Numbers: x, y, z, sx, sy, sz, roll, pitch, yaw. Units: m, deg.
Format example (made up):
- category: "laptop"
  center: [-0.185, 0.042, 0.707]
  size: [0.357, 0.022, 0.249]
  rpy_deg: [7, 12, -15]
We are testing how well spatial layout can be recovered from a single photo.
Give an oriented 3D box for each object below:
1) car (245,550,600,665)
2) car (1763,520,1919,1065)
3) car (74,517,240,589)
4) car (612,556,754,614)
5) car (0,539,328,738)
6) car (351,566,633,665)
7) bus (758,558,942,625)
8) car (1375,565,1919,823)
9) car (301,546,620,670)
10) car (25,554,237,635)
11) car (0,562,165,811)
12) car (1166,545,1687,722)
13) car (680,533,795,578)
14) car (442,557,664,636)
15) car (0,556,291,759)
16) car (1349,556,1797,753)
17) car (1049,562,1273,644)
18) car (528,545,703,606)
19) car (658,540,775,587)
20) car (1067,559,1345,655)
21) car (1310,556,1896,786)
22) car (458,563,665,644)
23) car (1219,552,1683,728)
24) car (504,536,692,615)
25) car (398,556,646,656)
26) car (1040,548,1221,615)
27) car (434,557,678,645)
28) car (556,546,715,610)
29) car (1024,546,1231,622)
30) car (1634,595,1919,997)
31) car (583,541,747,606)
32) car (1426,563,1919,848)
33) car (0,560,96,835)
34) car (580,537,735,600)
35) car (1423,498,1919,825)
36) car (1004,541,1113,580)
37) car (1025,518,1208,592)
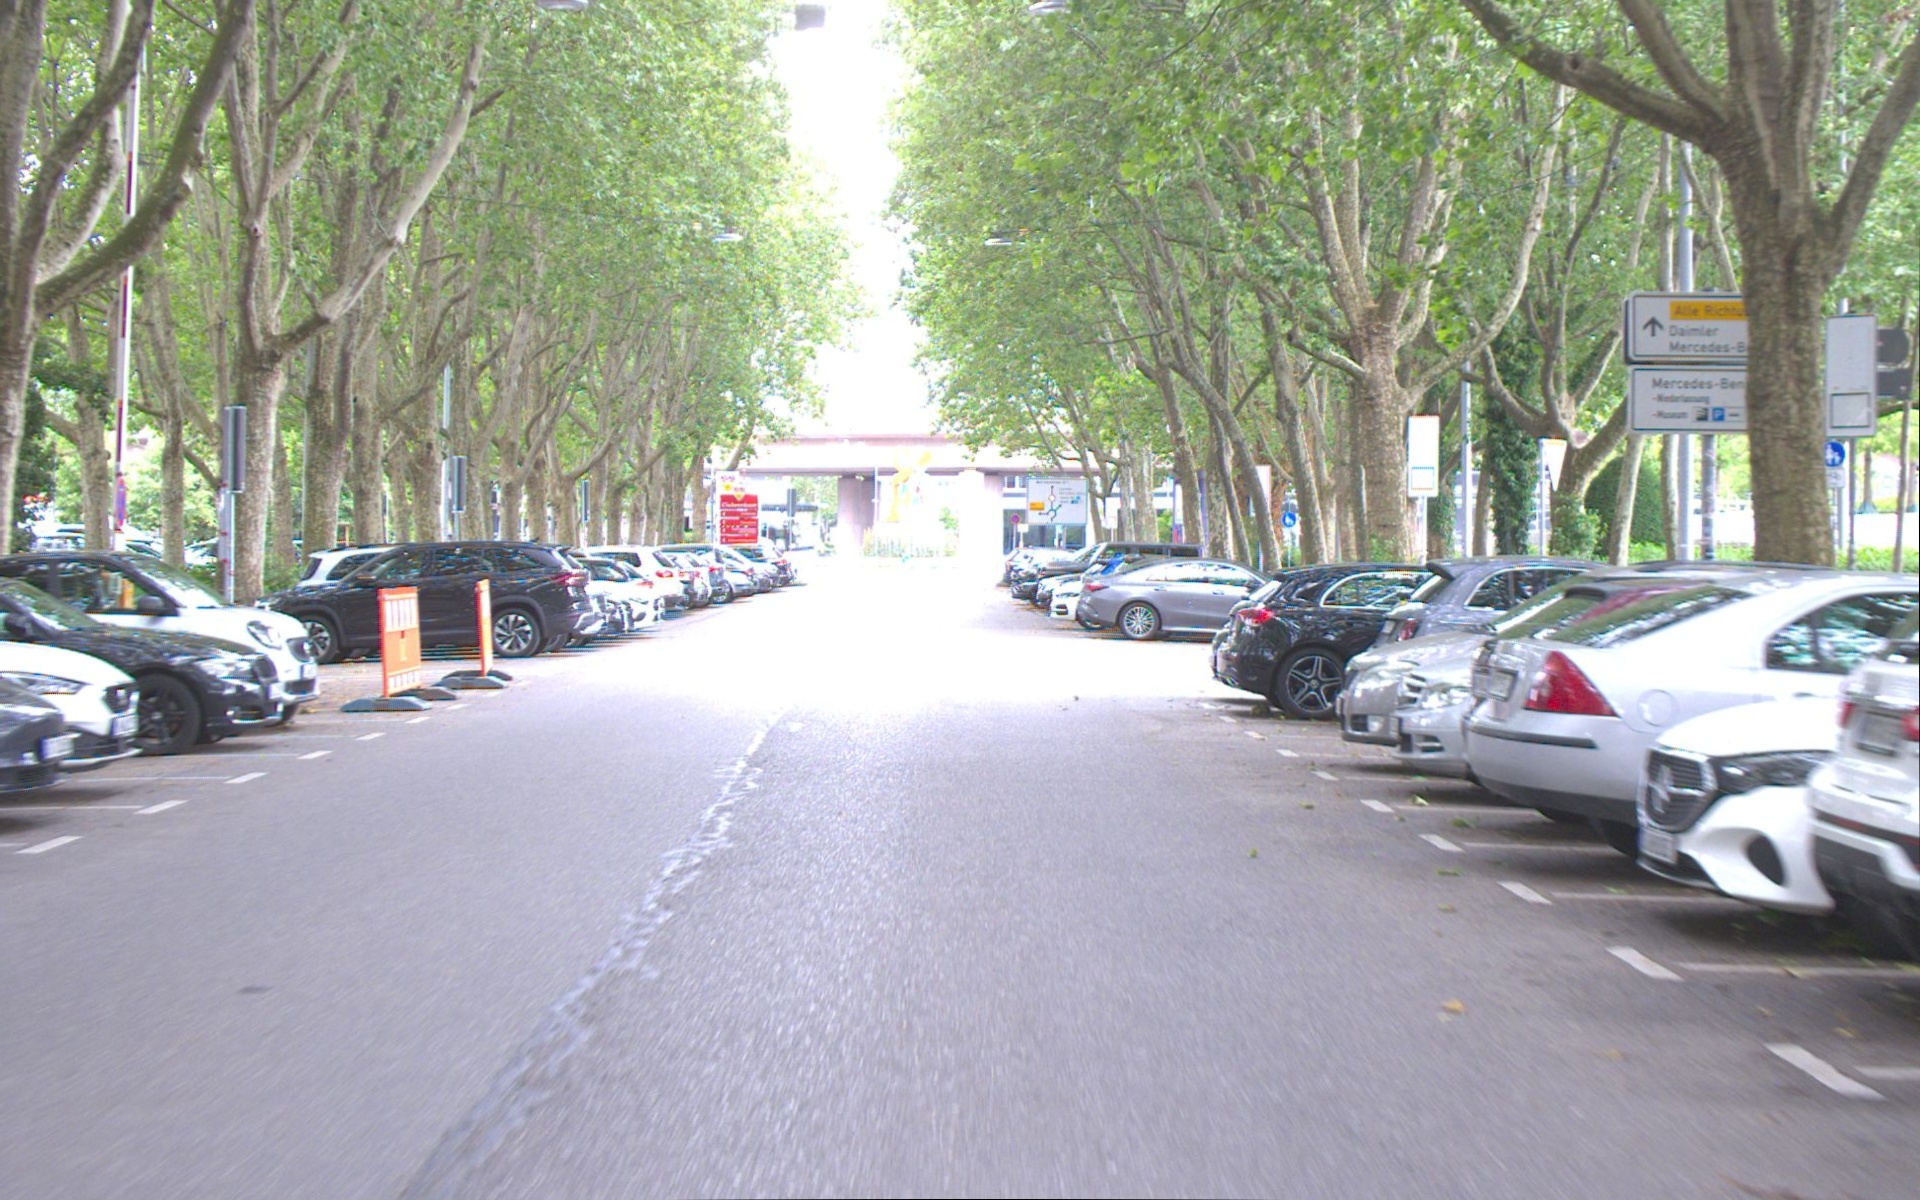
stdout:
- category: "car"
  center: [-7.472, 0.088, 48.155]
  size: [4.664, 1.422, 2.000]
  rpy_deg: [-2, 1, -2]
- category: "car"
  center: [4.694, 0.614, 11.349]
  size: [3.645, 1.661, 1.519]
  rpy_deg: [1, 1, -4]
- category: "car"
  center: [-23.899, -1.405, 102.399]
  size: [4.352, 2.008, 2.175]
  rpy_deg: [2, 1, 3]
- category: "car"
  center: [-7.935, -0.431, 98.685]
  size: [3.814, 1.510, 1.686]
  rpy_deg: [-2, 1, 5]
- category: "car"
  center: [-7.304, 0.307, 28.539]
  size: [3.826, 1.549, 1.695]
  rpy_deg: [-1, 1, -3]
- category: "car"
  center: [-7.288, 0.233, 53.841]
  size: [4.166, 1.376, 1.871]
  rpy_deg: [-2, 1, -2]
- category: "bus"
  center: [-6.646, -0.481, 205.805]
  size: [11.594, 3.957, 2.450]
  rpy_deg: [0, 0, 32]
- category: "car"
  center: [4.342, 0.548, 20.996]
  size: [3.425, 1.419, 1.519]
  rpy_deg: [2, 1, 2]
- category: "car"
  center: [-7.378, 0.100, 51.063]
  size: [4.471, 1.671, 1.762]
  rpy_deg: [-2, 1, -2]
- category: "car"
  center: [-22.281, -0.153, 92.512]
  size: [5.078, 2.008, 2.175]
  rpy_deg: [2, 1, 3]
- category: "car"
  center: [-7.215, 0.534, 20.865]
  size: [4.400, 1.425, 1.695]
  rpy_deg: [-1, 1, -3]
- category: "car"
  center: [4.421, 0.300, 33.115]
  size: [4.659, 1.447, 1.926]
  rpy_deg: [2, 1, -2]
- category: "car"
  center: [-7.771, -1.567, 120.193]
  size: [3.814, 1.510, 1.686]
  rpy_deg: [1, 1, 3]
- category: "car"
  center: [-7.546, -0.065, 63.956]
  size: [3.814, 1.326, 1.662]
  rpy_deg: [-2, 1, 5]
- category: "car"
  center: [-7.336, 0.430, 25.794]
  size: [4.332, 1.425, 1.695]
  rpy_deg: [-1, 1, -3]
- category: "car"
  center: [5.100, 0.437, 28.879]
  size: [3.424, 1.503, 1.556]
  rpy_deg: [1, 1, -2]
- category: "car"
  center: [3.840, 0.048, 65.413]
  size: [4.176, 1.437, 1.731]
  rpy_deg: [1, 1, 4]
- category: "car"
  center: [-8.118, -0.579, 81.121]
  size: [3.814, 1.292, 1.785]
  rpy_deg: [-2, 1, 5]
- category: "car"
  center: [-8.344, -1.264, 118.097]
  size: [3.814, 1.510, 1.686]
  rpy_deg: [1, 1, 3]
- category: "car"
  center: [4.167, 0.102, 58.223]
  size: [4.575, 1.481, 2.000]
  rpy_deg: [1, 1, 4]
- category: "car"
  center: [4.355, 0.464, 23.614]
  size: [3.678, 1.419, 1.519]
  rpy_deg: [1, 1, -2]
- category: "car"
  center: [-7.946, 0.059, 68.725]
  size: [3.814, 1.479, 1.662]
  rpy_deg: [-2, 1, 5]
- category: "car"
  center: [4.395, 0.344, 31.124]
  size: [3.918, 1.447, 1.556]
  rpy_deg: [1, 1, -2]
- category: "car"
  center: [-7.976, -0.550, 75.952]
  size: [3.814, 1.597, 1.785]
  rpy_deg: [-2, 1, 5]
- category: "car"
  center: [-7.098, 0.078, 55.938]
  size: [3.813, 1.479, 1.662]
  rpy_deg: [-2, 1, -2]
- category: "car"
  center: [3.979, -0.438, 80.434]
  size: [4.048, 1.463, 1.731]
  rpy_deg: [1, 1, -3]
- category: "car"
  center: [-6.822, 0.014, 58.272]
  size: [3.814, 1.349, 1.662]
  rpy_deg: [-2, 1, 5]
- category: "car"
  center: [-8.360, -0.576, 88.728]
  size: [3.814, 1.510, 1.686]
  rpy_deg: [-2, 1, 5]
- category: "car"
  center: [3.456, -0.345, 70.503]
  size: [4.176, 1.437, 1.731]
  rpy_deg: [1, 1, 4]
- category: "car"
  center: [4.616, 0.747, 13.277]
  size: [3.645, 1.405, 1.519]
  rpy_deg: [1, 1, -4]
- category: "car"
  center: [-7.367, -0.673, 86.109]
  size: [3.814, 1.510, 1.686]
  rpy_deg: [-2, 1, 5]
- category: "car"
  center: [4.414, 0.560, 18.788]
  size: [3.424, 1.419, 1.519]
  rpy_deg: [1, 1, -4]
- category: "car"
  center: [-6.789, 0.538, 18.590]
  size: [3.826, 1.425, 1.694]
  rpy_deg: [-1, 0, -3]
- category: "car"
  center: [-7.992, -0.840, 91.083]
  size: [3.814, 1.510, 1.686]
  rpy_deg: [-2, 1, 5]
- category: "car"
  center: [4.233, 0.278, 16.423]
  size: [3.645, 1.419, 1.986]
  rpy_deg: [1, 1, -4]
- category: "car"
  center: [4.001, -1.611, 139.926]
  size: [4.376, 1.517, 1.731]
  rpy_deg: [1, 1, 1]
- category: "car"
  center: [3.882, -1.129, 85.804]
  size: [4.376, 1.745, 1.731]
  rpy_deg: [1, 1, -3]
